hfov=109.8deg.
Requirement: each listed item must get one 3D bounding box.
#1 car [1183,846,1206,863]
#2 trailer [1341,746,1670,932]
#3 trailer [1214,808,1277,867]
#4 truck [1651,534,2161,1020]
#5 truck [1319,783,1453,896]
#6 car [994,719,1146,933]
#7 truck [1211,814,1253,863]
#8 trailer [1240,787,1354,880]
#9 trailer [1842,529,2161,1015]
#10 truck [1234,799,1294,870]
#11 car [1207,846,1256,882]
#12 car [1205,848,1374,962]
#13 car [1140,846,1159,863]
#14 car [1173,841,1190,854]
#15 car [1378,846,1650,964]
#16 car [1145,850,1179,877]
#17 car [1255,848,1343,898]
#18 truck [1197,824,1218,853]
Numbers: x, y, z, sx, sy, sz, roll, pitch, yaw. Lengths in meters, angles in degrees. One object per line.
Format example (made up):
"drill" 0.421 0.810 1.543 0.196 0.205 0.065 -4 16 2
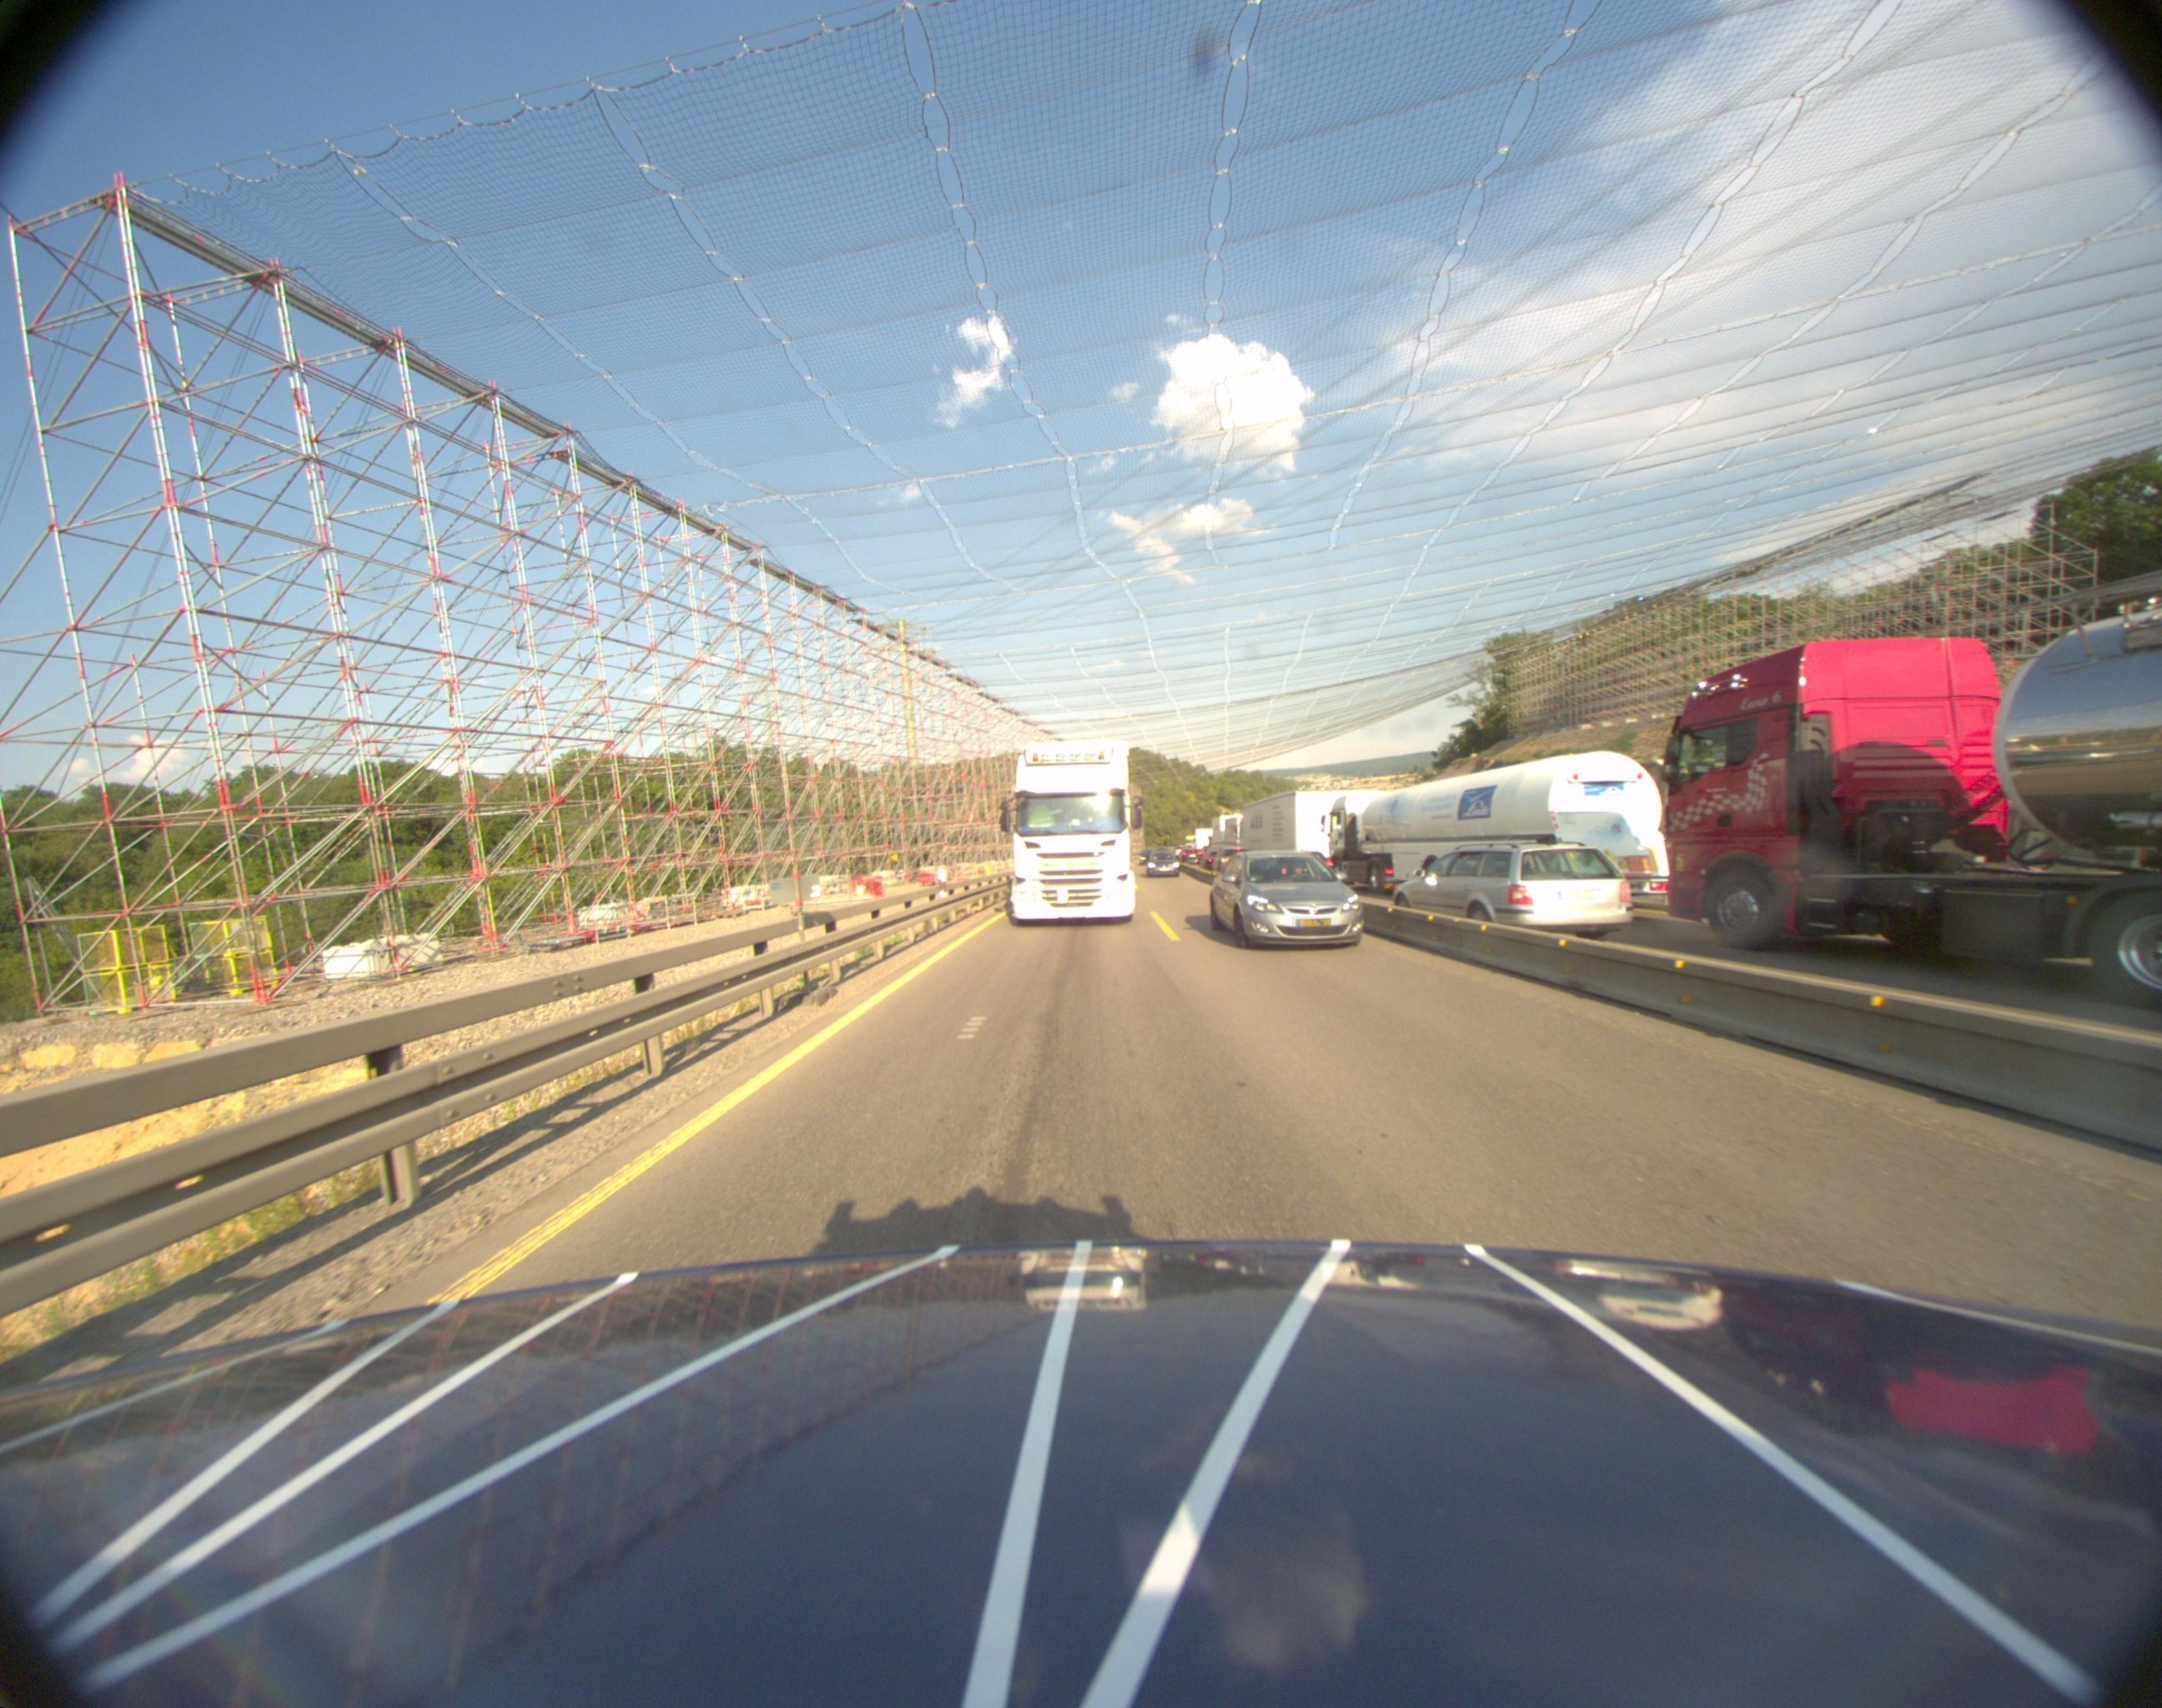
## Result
"car" 9.797 0.024 65.719 1.611 1.368 3.901 -1 1 3
"trailer" 9.833 -0.365 19.931 2.312 3.342 12.052 -1 1 2
"trailer" 12.454 -1.251 58.820 2.676 3.992 13.334 -1 1 4
"truck" 9.597 -0.657 8.356 2.438 3.763 5.616 -2 1 0
"truck" 10.051 -0.475 25.655 2.419 3.351 5.617 -1 1 2
"car" -0.149 -0.607 18.984 2.858 4.092 8.279 -2 1 1
"truck" 12.840 -1.319 65.102 2.636 3.888 7.206 -1 1 5
"trailer" 10.744 -1.000 39.697 2.433 3.940 14.098 -1 1 2
"trailer" 9.538 -0.599 2.363 2.313 3.768 12.050 -2 1 0
"truck" 11.103 -1.168 46.574 2.479 4.023 5.617 -1 1 3
"car" 7.253 0.434 36.878 1.755 1.578 3.943 -1 1 3
"car" 3.158 0.667 12.412 1.760 1.464 4.353 -1 1 3
"car" 6.183 0.041 68.431 1.675 1.376 3.823 -1 1 6
"car" 12.776 -0.795 96.917 1.812 1.559 4.366 -1 1 4
"car" 6.391 0.625 11.939 1.631 1.418 4.657 -2 1 0
"car" 4.475 0.489 42.084 1.764 1.376 3.823 -1 1 6
"car" 6.905 0.537 24.546 1.631 1.418 4.387 -2 1 1
"truck" 19.374 -2.385 116.999 2.726 4.203 14.174 -1 1 8
